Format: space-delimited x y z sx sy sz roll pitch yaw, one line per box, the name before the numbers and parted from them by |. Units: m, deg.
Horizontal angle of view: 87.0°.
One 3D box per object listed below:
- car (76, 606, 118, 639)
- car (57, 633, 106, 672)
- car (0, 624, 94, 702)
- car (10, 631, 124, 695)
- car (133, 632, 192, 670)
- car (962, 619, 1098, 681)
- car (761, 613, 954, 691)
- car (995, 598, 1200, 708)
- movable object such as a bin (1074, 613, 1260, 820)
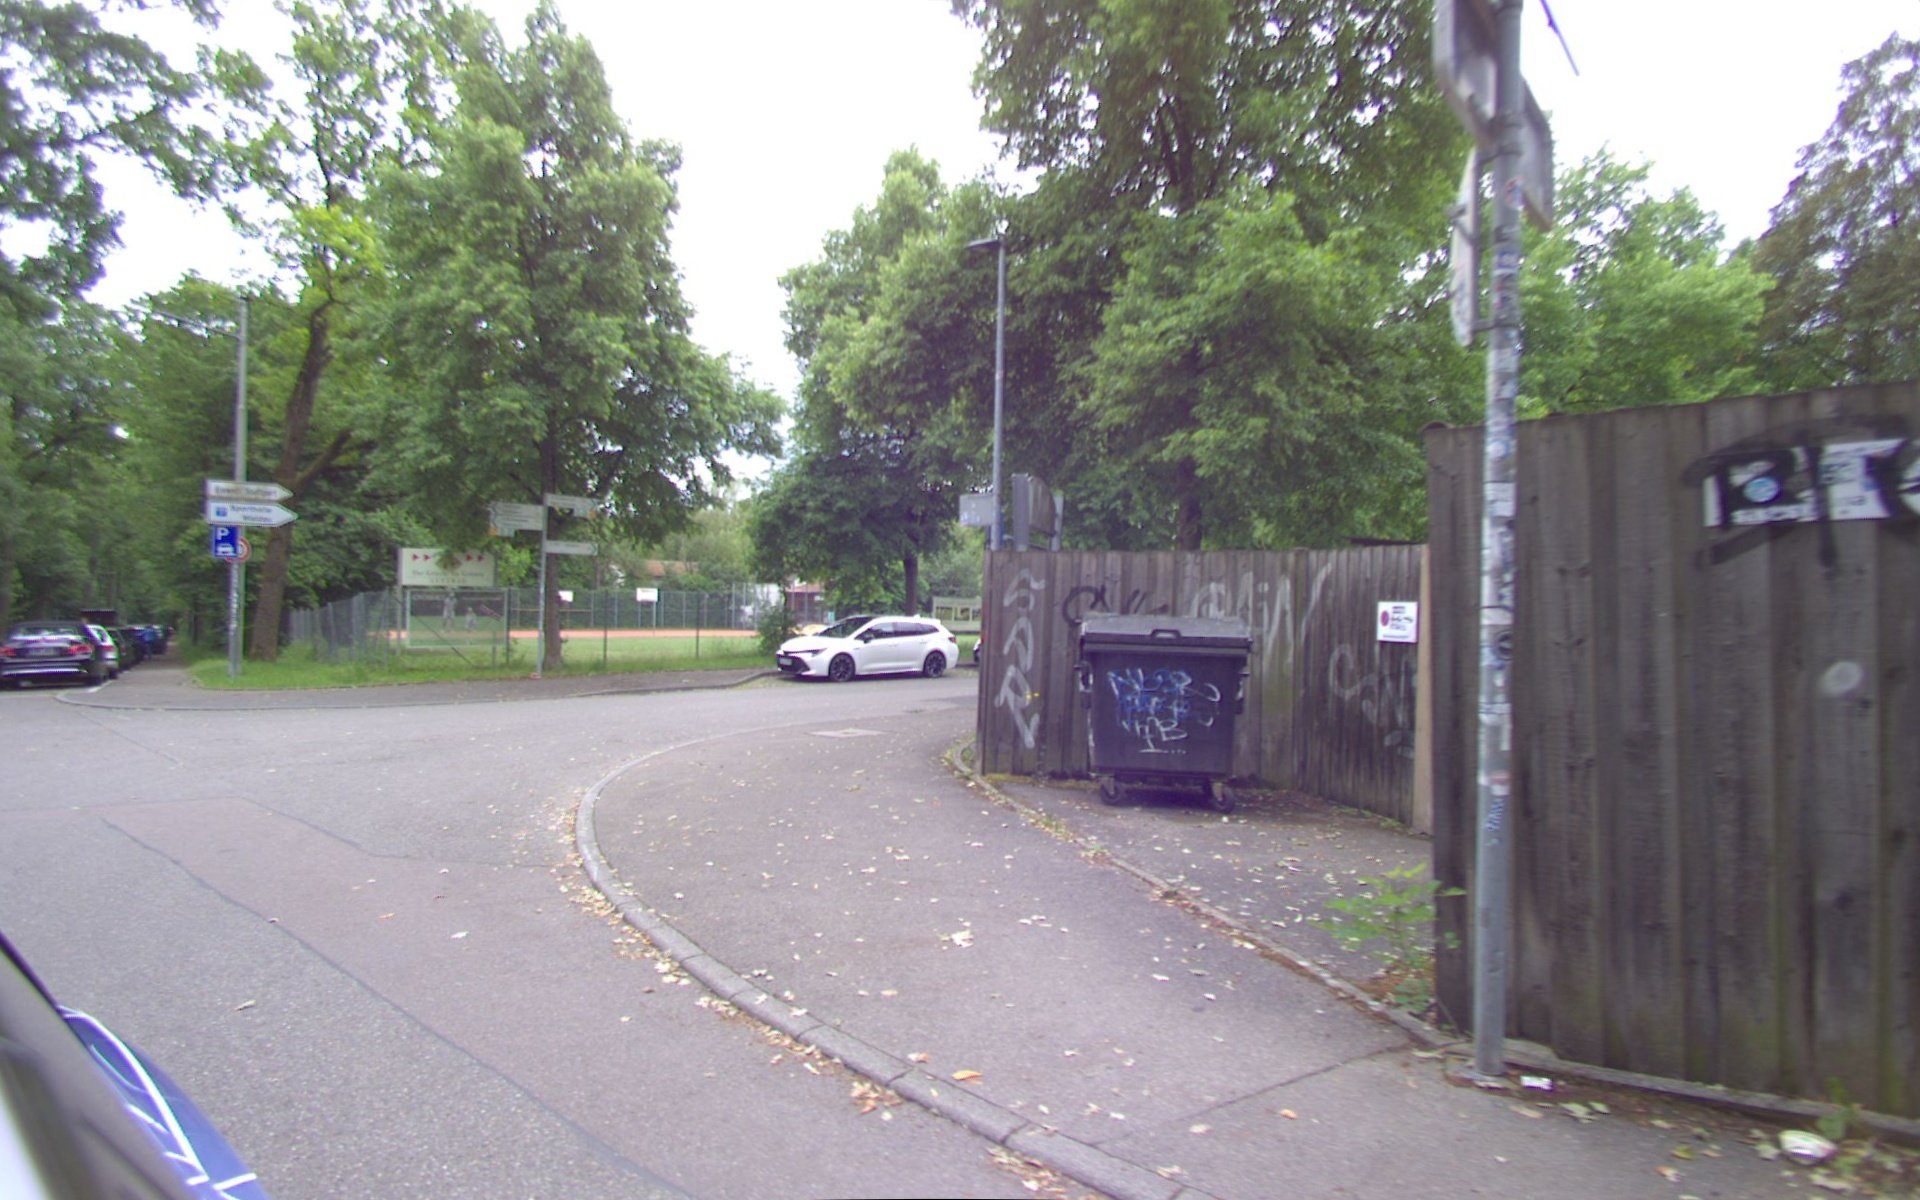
car | -70.513 1.805 82.745 2.541 2.554 4.943 0 -1 -41
car | -39.203 2.308 45.122 1.596 1.604 3.524 0 -1 -42
car | -19.682 1.325 21.543 1.744 1.506 4.334 0 -2 -39
car | -22.494 1.570 25.630 1.968 1.431 4.007 0 -2 -39
car | -37.632 2.381 47.731 1.928 1.631 3.644 3 -3 -42
car | 1.904 1.291 26.972 3.611 1.466 1.552 2 1 -44
car | -2.295 1.141 23.315 4.150 1.608 1.773 2 0 -41
car | 2.875 1.027 20.747 4.043 2.029 1.998 1 -2 -40
movable object such as a bin | 1.553 0.848 7.834 1.270 1.453 1.077 1 -2 5
